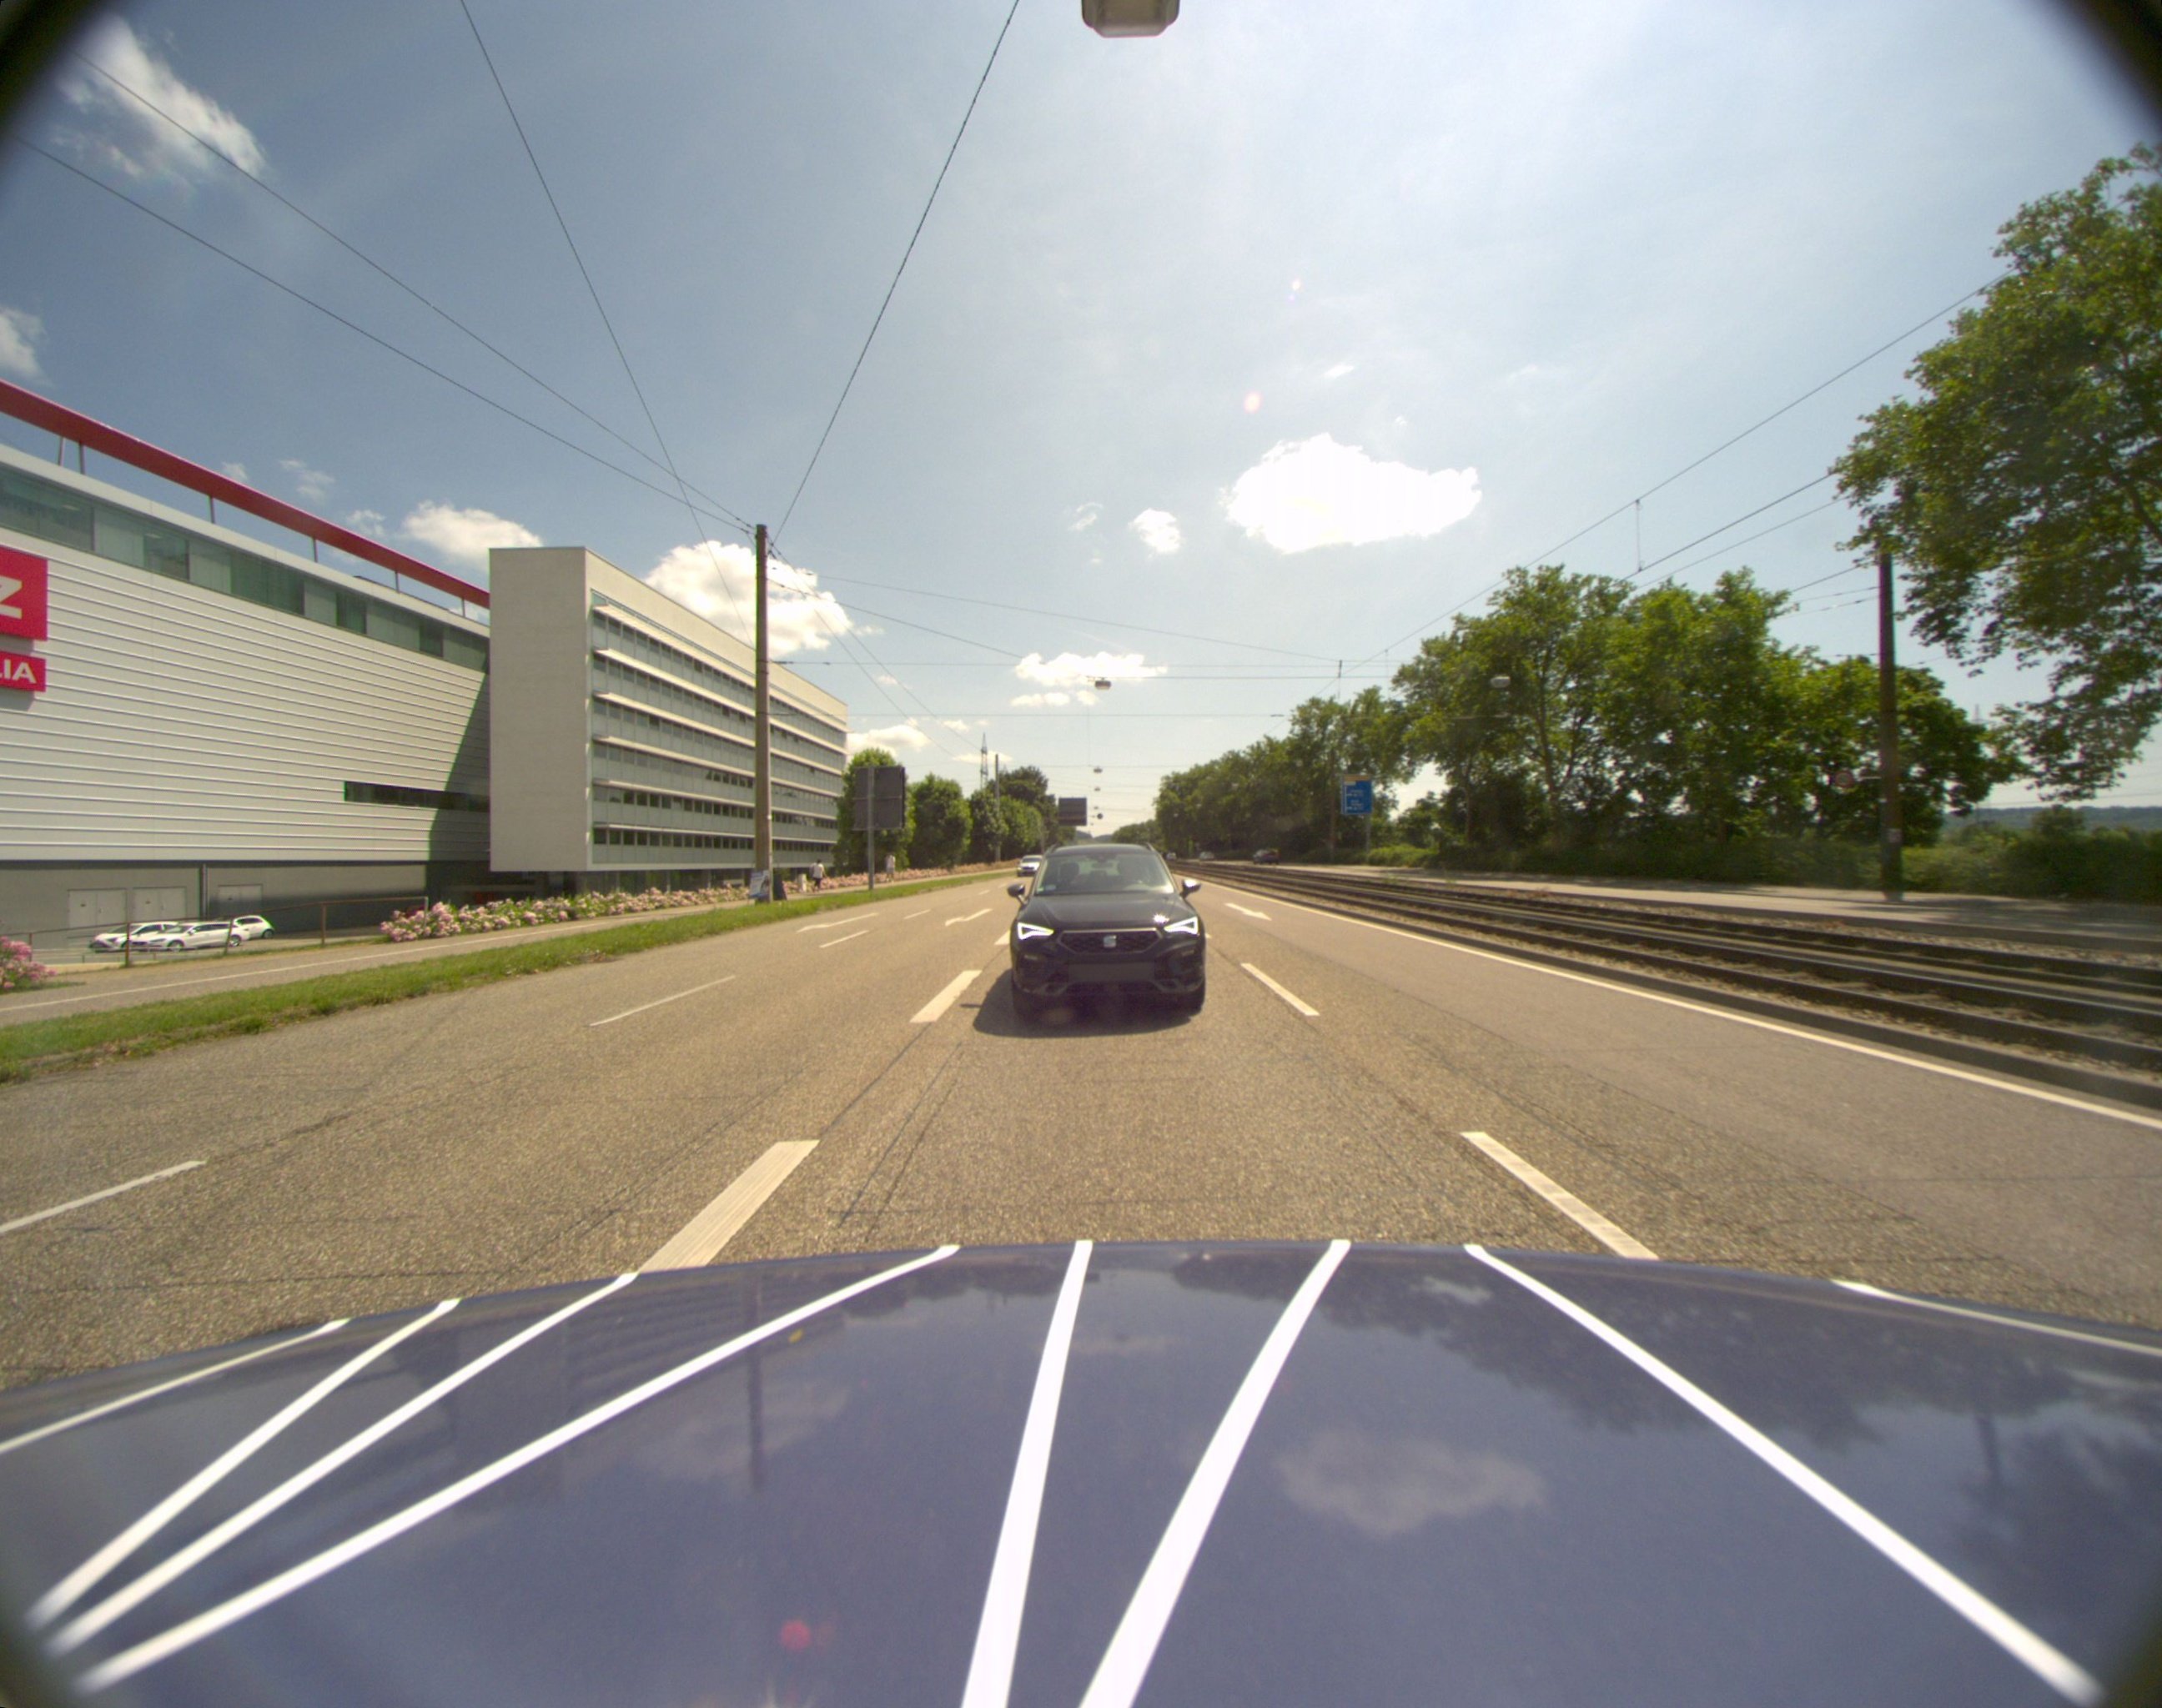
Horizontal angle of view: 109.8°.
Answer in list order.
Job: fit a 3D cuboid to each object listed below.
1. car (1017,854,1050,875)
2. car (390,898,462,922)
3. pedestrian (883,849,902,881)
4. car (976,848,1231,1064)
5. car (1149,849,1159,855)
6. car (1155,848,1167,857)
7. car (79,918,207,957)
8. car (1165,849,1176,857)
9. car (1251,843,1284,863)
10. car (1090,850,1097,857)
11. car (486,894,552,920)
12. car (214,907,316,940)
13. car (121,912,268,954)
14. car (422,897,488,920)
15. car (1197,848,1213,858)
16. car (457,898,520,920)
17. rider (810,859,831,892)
[{"bbox_3d":[-3.250,0.688,52.740,1.896,1.331,4.000,-2,1,1],"label":"car"},{"bbox_3d":[-50.611,4.304,58.835,1.998,1.439,3.999,-2,1,1],"label":"car"},{"bbox_3d":[-10.854,0.626,43.743,0.758,1.838,0.931,-2,1,3],"label":"pedestrian"},{"bbox_3d":[0.200,0.764,8.027,1.898,1.564,4.511,-2,1,1],"label":"car"},{"bbox_3d":[19.450,-0.486,202.328,1.999,1.660,4.466,1,0,-3],"label":"car"},{"bbox_3d":[17.756,-0.320,169.244,1.999,1.820,4.968,1,0,-1],"label":"car"},{"bbox_3d":[-51.303,4.528,41.693,1.998,1.603,3.999,-2,1,1],"label":"car"},{"bbox_3d":[18.093,-0.141,153.188,1.690,1.574,4.058,2,0,-1],"label":"car"},{"bbox_3d":[18.515,-0.133,75.526,1.999,1.907,4.409,-2,0,-2],"label":"car"},{"bbox_3d":[3.414,-0.132,210.986,1.998,1.641,4.000,-2,1,1],"label":"car"},{"bbox_3d":[-43.174,4.065,58.519,1.998,1.603,3.999,-2,1,1],"label":"car"},{"bbox_3d":[-51.089,4.309,47.675,1.998,1.603,3.999,-2,1,1],"label":"car"},{"bbox_3d":[-48.549,4.282,41.829,1.998,1.603,5.146,-2,1,1],"label":"car"},{"bbox_3d":[-48.141,4.140,58.525,1.648,1.377,3.999,-2,1,1],"label":"car"},{"bbox_3d":[18.443,-0.132,112.822,1.827,1.407,3.884,1,0,2],"label":"car"},{"bbox_3d":[-45.558,4.208,58.533,1.609,1.314,3.999,-2,1,1],"label":"car"},{"bbox_3d":[-11.627,0.956,33.957,0.671,1.449,0.618,-2,1,0],"label":"rider"}]
